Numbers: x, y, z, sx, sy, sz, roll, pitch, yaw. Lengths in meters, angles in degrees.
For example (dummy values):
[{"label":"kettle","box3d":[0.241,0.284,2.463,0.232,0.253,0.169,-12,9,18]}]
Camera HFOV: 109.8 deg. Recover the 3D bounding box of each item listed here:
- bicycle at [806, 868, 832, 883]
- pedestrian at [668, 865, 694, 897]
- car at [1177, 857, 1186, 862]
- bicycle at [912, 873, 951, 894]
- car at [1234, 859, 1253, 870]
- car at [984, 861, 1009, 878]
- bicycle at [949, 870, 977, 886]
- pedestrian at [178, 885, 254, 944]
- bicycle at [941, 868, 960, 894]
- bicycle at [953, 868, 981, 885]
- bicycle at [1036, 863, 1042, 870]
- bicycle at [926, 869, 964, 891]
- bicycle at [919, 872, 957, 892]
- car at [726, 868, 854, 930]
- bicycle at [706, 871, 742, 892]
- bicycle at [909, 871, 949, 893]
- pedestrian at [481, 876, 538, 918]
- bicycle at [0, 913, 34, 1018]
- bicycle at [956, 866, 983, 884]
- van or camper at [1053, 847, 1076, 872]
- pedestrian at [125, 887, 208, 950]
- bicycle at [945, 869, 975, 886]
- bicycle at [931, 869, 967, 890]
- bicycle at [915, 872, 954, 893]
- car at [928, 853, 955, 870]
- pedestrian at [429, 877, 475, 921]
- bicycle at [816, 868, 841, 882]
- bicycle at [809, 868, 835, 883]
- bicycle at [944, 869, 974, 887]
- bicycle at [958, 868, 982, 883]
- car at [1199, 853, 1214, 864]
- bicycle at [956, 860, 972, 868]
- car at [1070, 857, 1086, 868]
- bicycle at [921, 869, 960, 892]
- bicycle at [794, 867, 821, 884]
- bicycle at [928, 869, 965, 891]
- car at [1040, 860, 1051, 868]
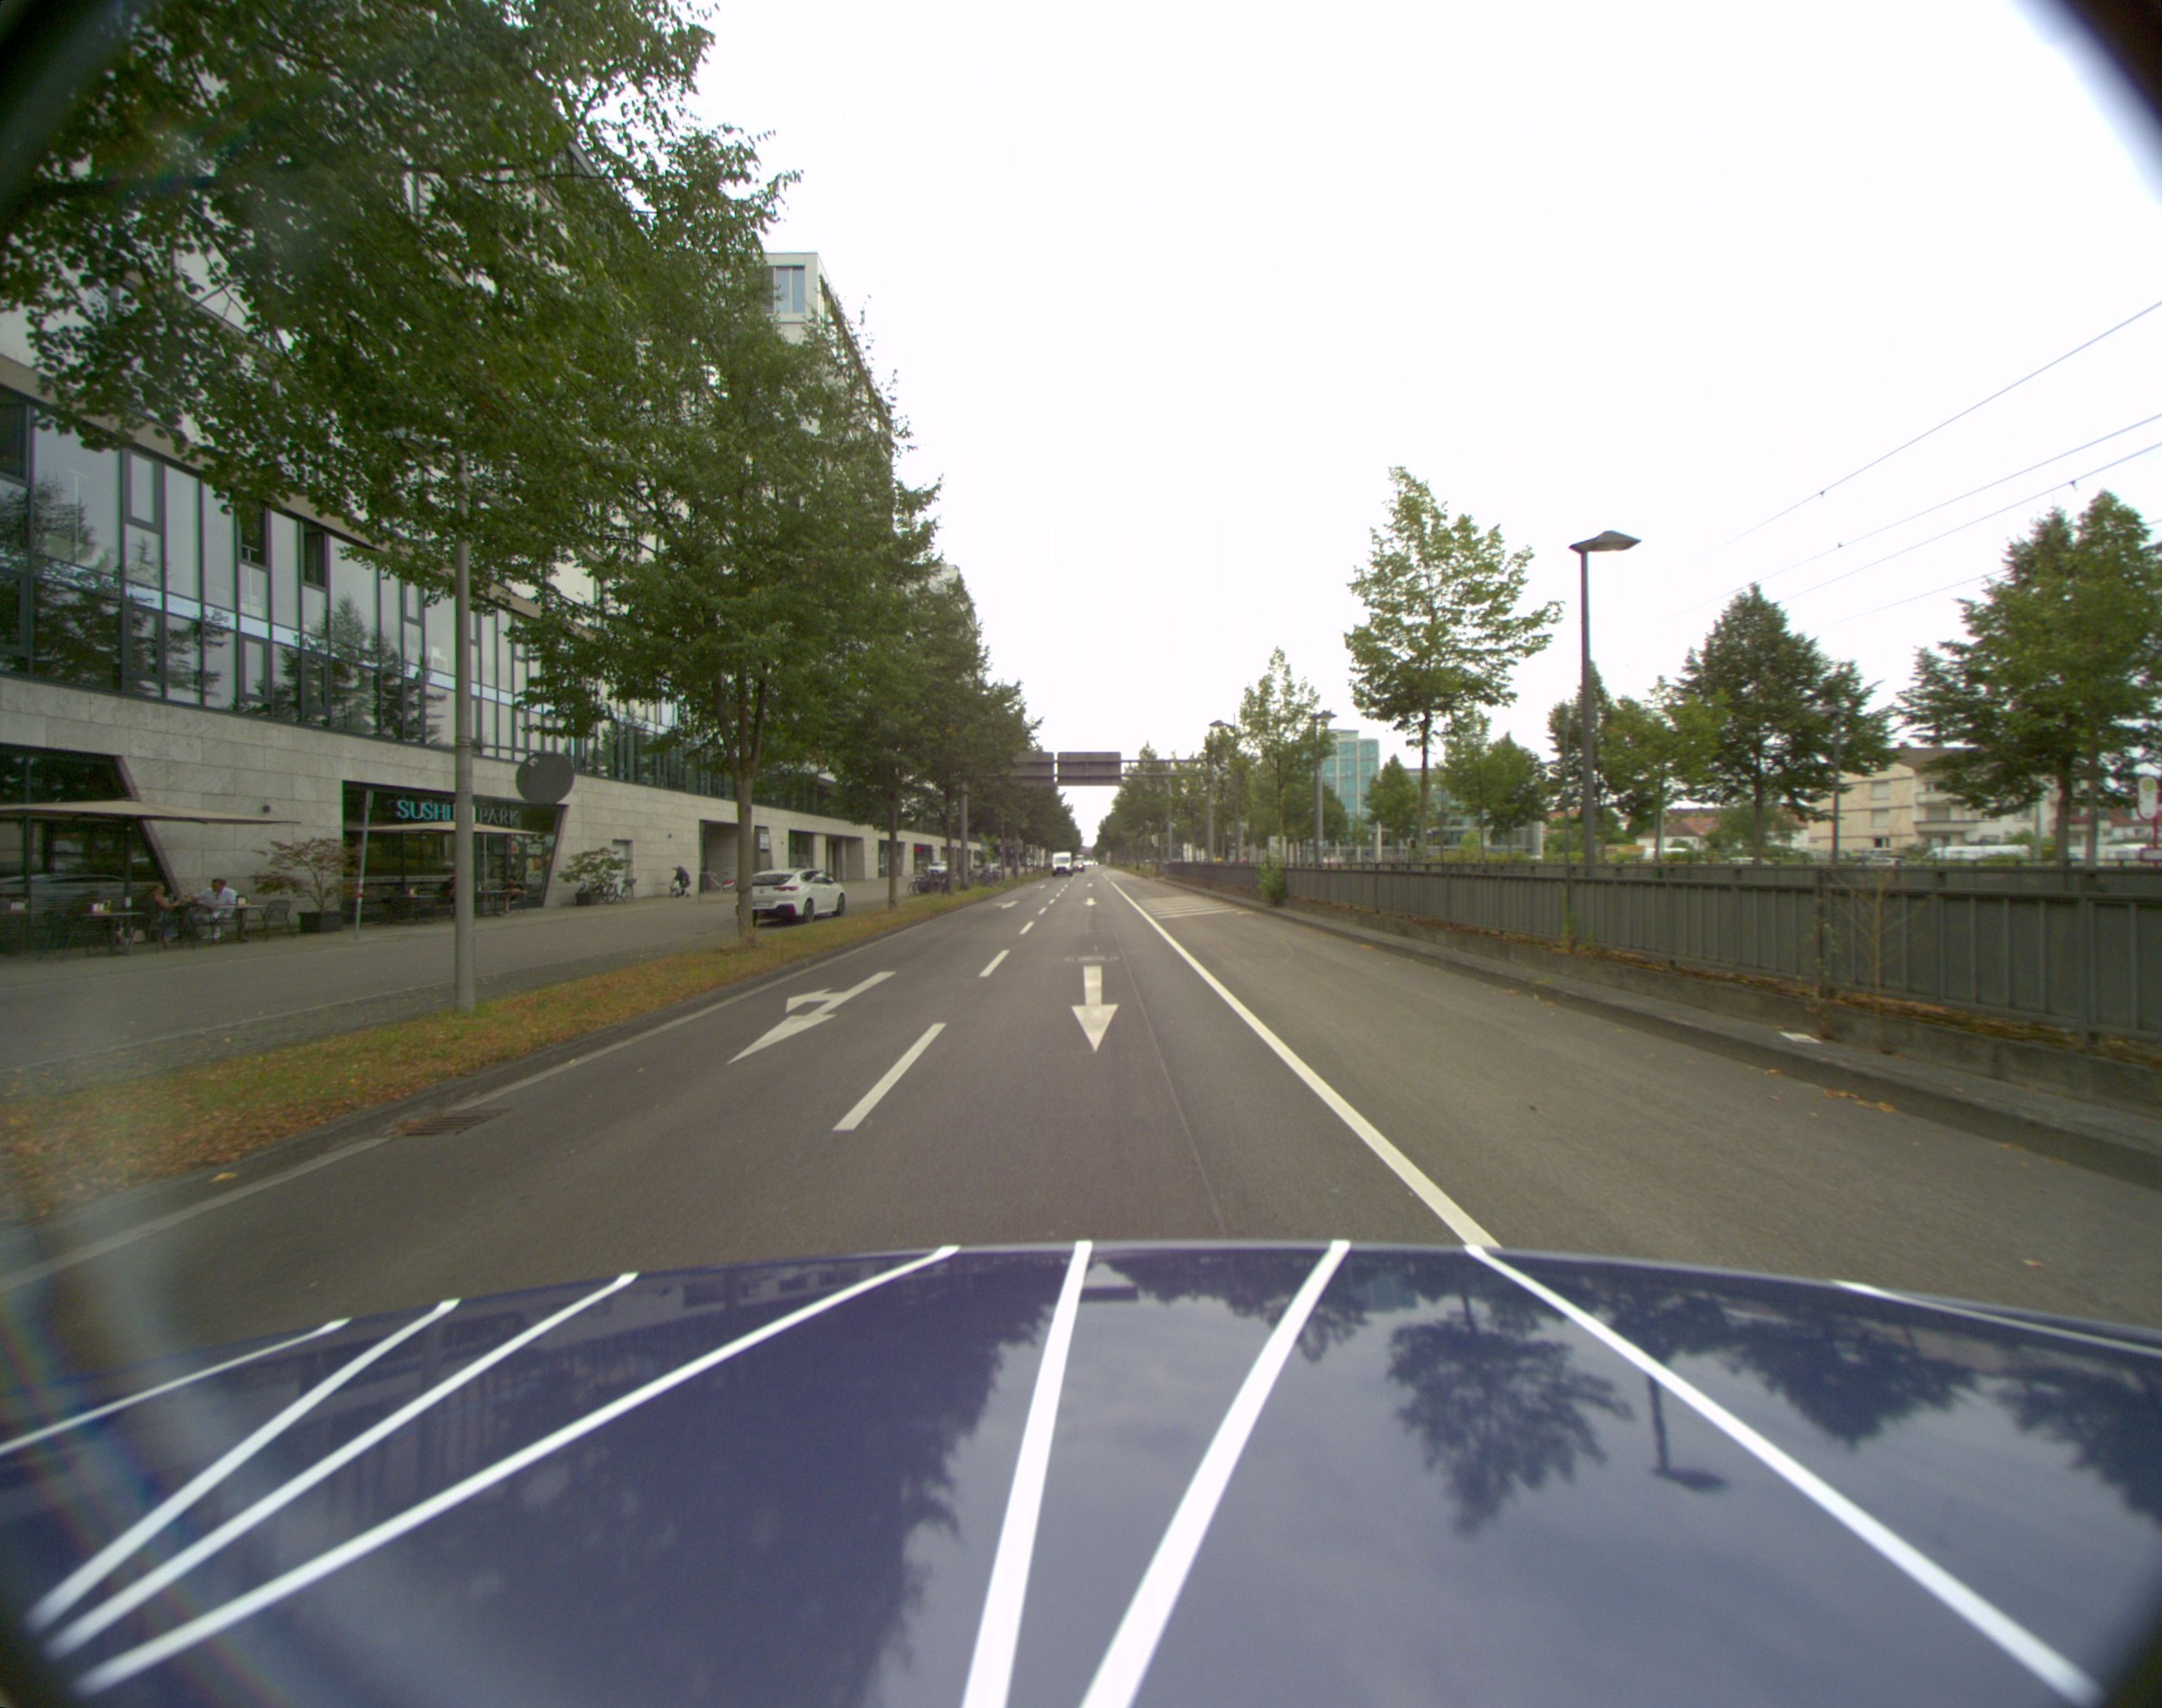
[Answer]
[{"label":"bicycle","box3d":[-17.454,1.442,50.611,1.533,0.948,0.533,0,0,-2]},{"label":"pedestrian","box3d":[-17.668,1.182,33.570,0.758,1.398,0.721,0,0,8]},{"label":"car","box3d":[25.386,1.381,191.531,1.752,1.448,3.865,-1,0,2]},{"label":"bicycle","box3d":[-7.697,1.502,39.212,1.865,0.945,0.501,-4,0,-2]},{"label":"car","box3d":[24.777,1.534,116.045,1.832,1.646,4.691,0,0,-1]},{"label":"car","box3d":[-7.616,1.360,68.652,1.765,1.413,4.183,-1,0,1]},{"label":"bicycle","box3d":[-7.407,1.503,47.725,1.720,0.900,0.588,-4,0,-8]},{"label":"pedestrian","box3d":[-18.219,1.259,16.025,0.720,1.185,0.759,0,0,2]},{"label":"bicycle","box3d":[-6.139,1.255,35.779,0.712,1.109,2.202,-4,0,-7]},{"label":"bicycle","box3d":[-7.440,1.469,49.702,1.778,1.006,0.610,-4,0,-8]},{"label":"bicycle","box3d":[-5.469,1.587,98.885,0.634,0.871,2.116,-3,0,2]},{"label":"bicycle","box3d":[-7.537,1.431,42.153,1.935,1.059,0.641,-4,0,-2]},{"label":"bicycle","box3d":[-7.638,1.493,40.702,1.865,0.945,0.612,-4,0,-2]},{"label":"car","box3d":[-8.314,1.217,22.219,1.943,1.543,4.593,-1,0,0]},{"label":"bicycle","box3d":[-17.650,1.360,37.577,1.605,1.020,0.609,0,0,-26]},{"label":"bicycle","box3d":[-7.684,1.433,38.545,1.865,0.989,0.574,-4,0,-2]},{"label":"pedestrian","box3d":[-17.325,1.287,23.053,0.773,1.185,1.107,0,0,16]},{"label":"bicycle","box3d":[-13.343,1.333,8.212,0.904,1.228,2.268,1,0,0]},{"label":"bicycle","box3d":[-7.512,1.402,51.224,1.672,1.084,0.525,-3,0,-2]},{"label":"van or camper","box3d":[-1.656,0.581,80.081,2.183,2.493,6.339,-2,0,0]},{"label":"pedestrian","box3d":[-18.241,1.277,15.174,0.720,1.185,0.759,0,0,0]},{"label":"bicycle","box3d":[-7.482,1.460,47.066,1.720,0.968,0.609,-4,0,-8]},{"label":"bicycle","box3d":[-7.555,1.460,43.463,1.935,1.059,0.543,-4,0,-8]},{"label":"bicycle","box3d":[-7.680,1.499,39.961,1.865,0.945,0.652,-4,0,-2]},{"label":"car","box3d":[-14.024,0.721,76.441,1.862,1.579,4.240,2,0,1]},{"label":"pedestrian","box3d":[-17.986,1.273,21.736,0.719,1.185,0.760,0,0,23]},{"label":"bicycle","box3d":[-17.508,1.447,52.716,1.533,0.948,0.533,0,0,-2]},{"label":"bicycle","box3d":[-17.437,1.439,51.216,1.533,0.948,0.533,0,0,-2]},{"label":"bicycle","box3d":[-7.454,1.463,46.416,1.749,0.968,0.609,-4,0,-8]},{"label":"bicycle","box3d":[-7.694,1.509,52.734,1.533,0.947,0.552,-3,0,-2]},{"label":"car","box3d":[22.267,0.820,134.949,1.998,1.933,5.096,-1,0,0]},{"label":"bicycle","box3d":[-17.316,1.544,112.542,2.238,1.170,0.975,-1,0,-7]},{"label":"car","box3d":[-0.399,1.180,104.264,1.973,1.528,4.140,0,0,1]},{"label":"bicycle","box3d":[-7.621,1.439,41.393,1.935,1.059,0.705,-4,0,-2]},{"label":"bicycle","box3d":[-17.469,1.381,48.618,1.533,1.020,0.533,0,0,-2]},{"label":"bicycle","box3d":[-7.573,1.462,42.884,1.935,1.059,0.543,-4,0,-8]},{"label":"car","box3d":[-6.759,1.838,145.490,1.954,1.521,4.000,0,0,0]}]
